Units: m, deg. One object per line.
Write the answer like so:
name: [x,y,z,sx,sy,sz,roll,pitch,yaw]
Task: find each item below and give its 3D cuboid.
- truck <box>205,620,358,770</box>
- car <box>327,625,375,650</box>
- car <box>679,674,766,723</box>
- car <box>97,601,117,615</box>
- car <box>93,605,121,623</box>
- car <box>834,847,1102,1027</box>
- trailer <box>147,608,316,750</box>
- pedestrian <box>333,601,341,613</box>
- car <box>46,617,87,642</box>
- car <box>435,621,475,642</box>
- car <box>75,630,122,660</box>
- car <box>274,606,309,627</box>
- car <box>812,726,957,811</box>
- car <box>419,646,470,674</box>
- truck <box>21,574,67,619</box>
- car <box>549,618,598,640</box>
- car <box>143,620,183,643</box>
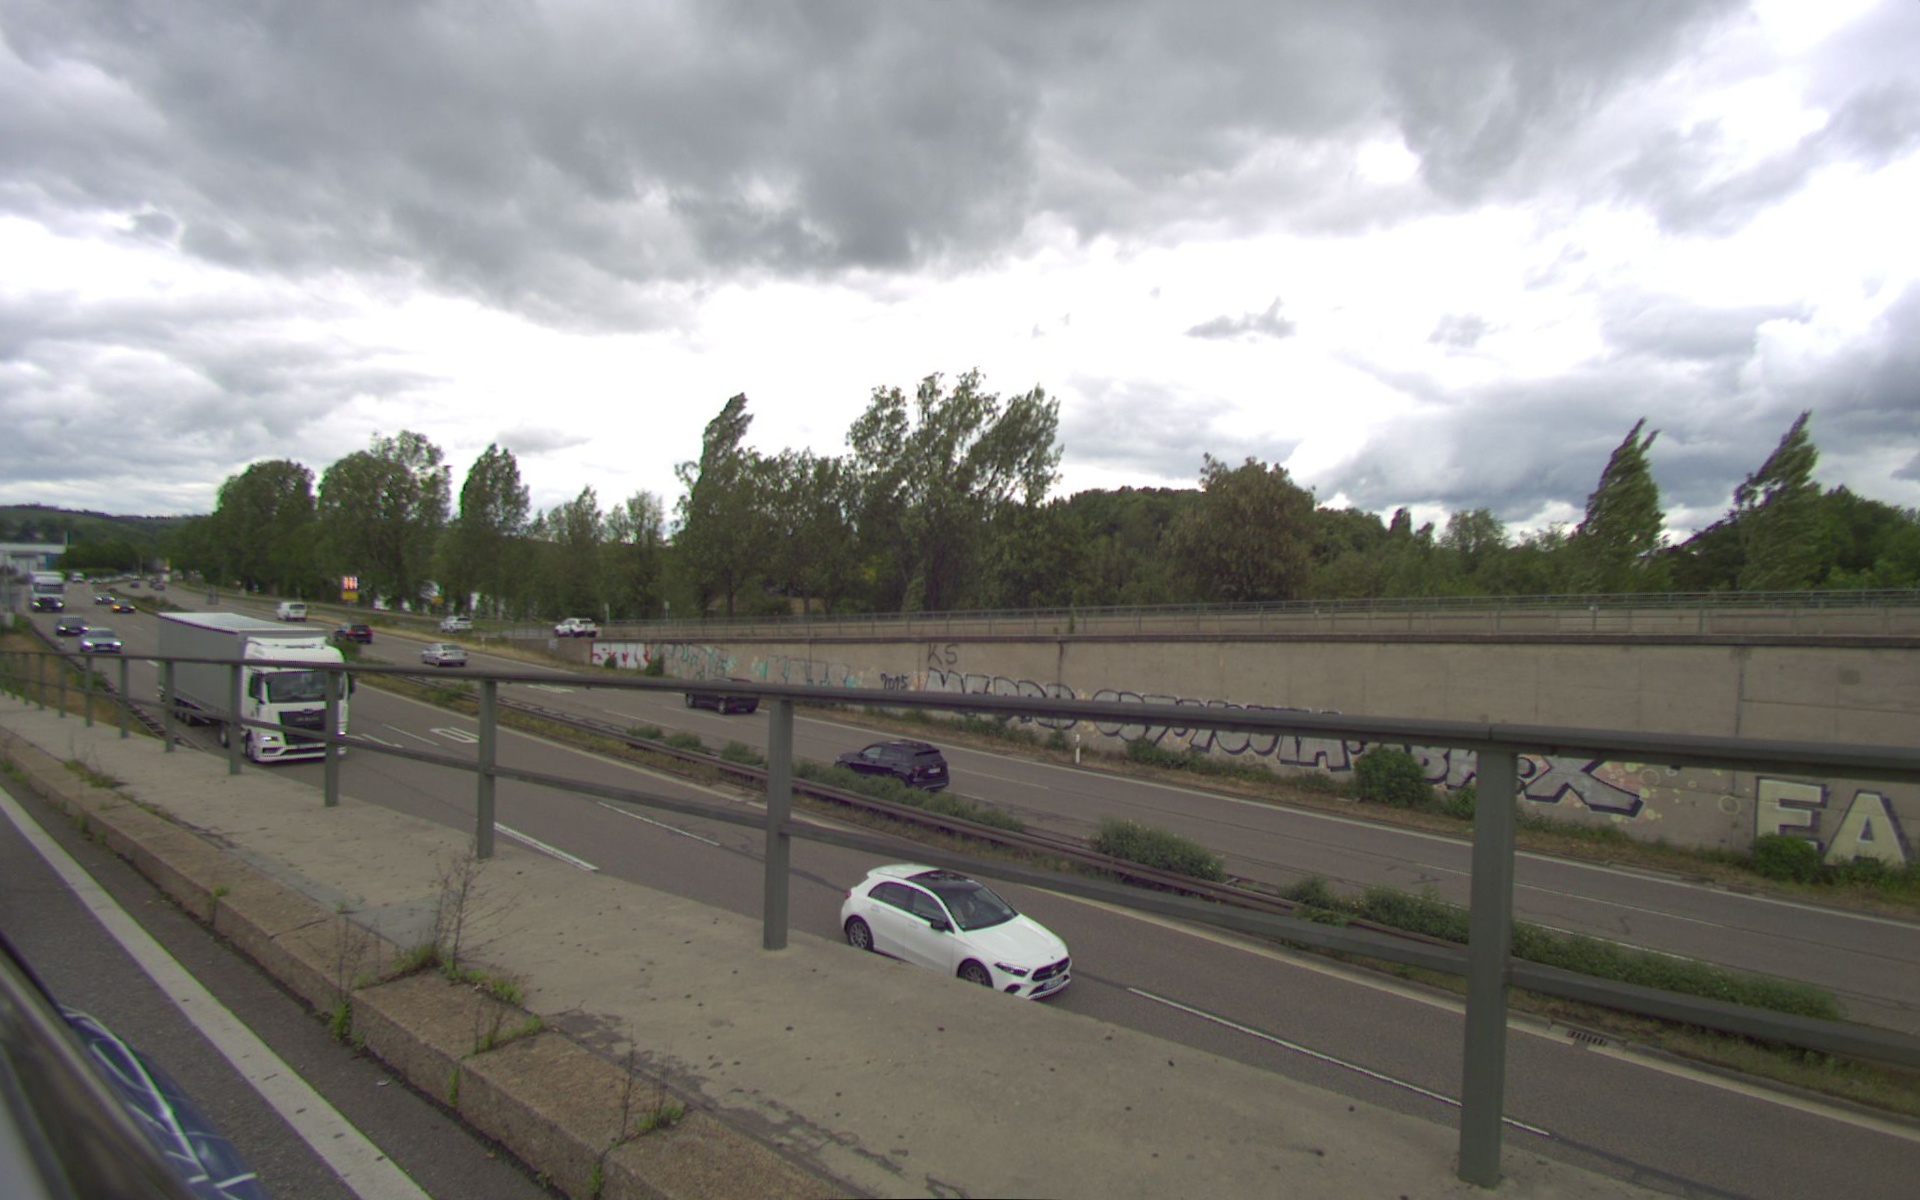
truck: [-23.052,2.984,34.221,6.699,4.283,2.721,2,0,43]
car: [-48.681,3.003,80.855,4.550,1.751,1.896,2,0,40]
car: [-11.589,4.746,49.265,4.408,1.855,1.911,2,1,41]
car: [-111.173,0.990,131.835,1.832,1.619,4.171,1,1,-42]
car: [-93.832,1.546,111.348,4.168,1.619,1.833,1,-5,45]
car: [0.041,5.457,16.941,4.276,1.429,1.895,3,2,42]
trailer: [-28.687,2.718,39.452,13.152,4.283,2.721,2,0,43]
pedestrian: [-90.392,1.070,146.862,1.078,1.718,0.820,3,2,43]
car: [-68.730,2.273,77.799,4.166,1.619,1.834,2,-5,43]
car: [-47.839,2.968,95.819,4.211,1.884,1.973,-2,-1,41]
car: [-55.133,2.873,64.747,4.166,1.619,1.834,2,1,43]
car: [-71.483,1.740,108.181,5.177,2.082,1.972,2,1,42]
car: [-2.416,5.224,31.877,4.422,1.855,1.973,2,0,41]
car: [-33.569,3.863,65.898,4.089,1.539,1.709,2,0,45]
truck: [-99.413,-0.477,109.784,11.131,4.559,3.136,2,1,45]
car: [-29.961,2.248,78.383,4.346,1.588,1.812,-2,-1,43]
car: [-65.914,2.580,83.685,4.166,1.619,1.834,2,-5,43]
